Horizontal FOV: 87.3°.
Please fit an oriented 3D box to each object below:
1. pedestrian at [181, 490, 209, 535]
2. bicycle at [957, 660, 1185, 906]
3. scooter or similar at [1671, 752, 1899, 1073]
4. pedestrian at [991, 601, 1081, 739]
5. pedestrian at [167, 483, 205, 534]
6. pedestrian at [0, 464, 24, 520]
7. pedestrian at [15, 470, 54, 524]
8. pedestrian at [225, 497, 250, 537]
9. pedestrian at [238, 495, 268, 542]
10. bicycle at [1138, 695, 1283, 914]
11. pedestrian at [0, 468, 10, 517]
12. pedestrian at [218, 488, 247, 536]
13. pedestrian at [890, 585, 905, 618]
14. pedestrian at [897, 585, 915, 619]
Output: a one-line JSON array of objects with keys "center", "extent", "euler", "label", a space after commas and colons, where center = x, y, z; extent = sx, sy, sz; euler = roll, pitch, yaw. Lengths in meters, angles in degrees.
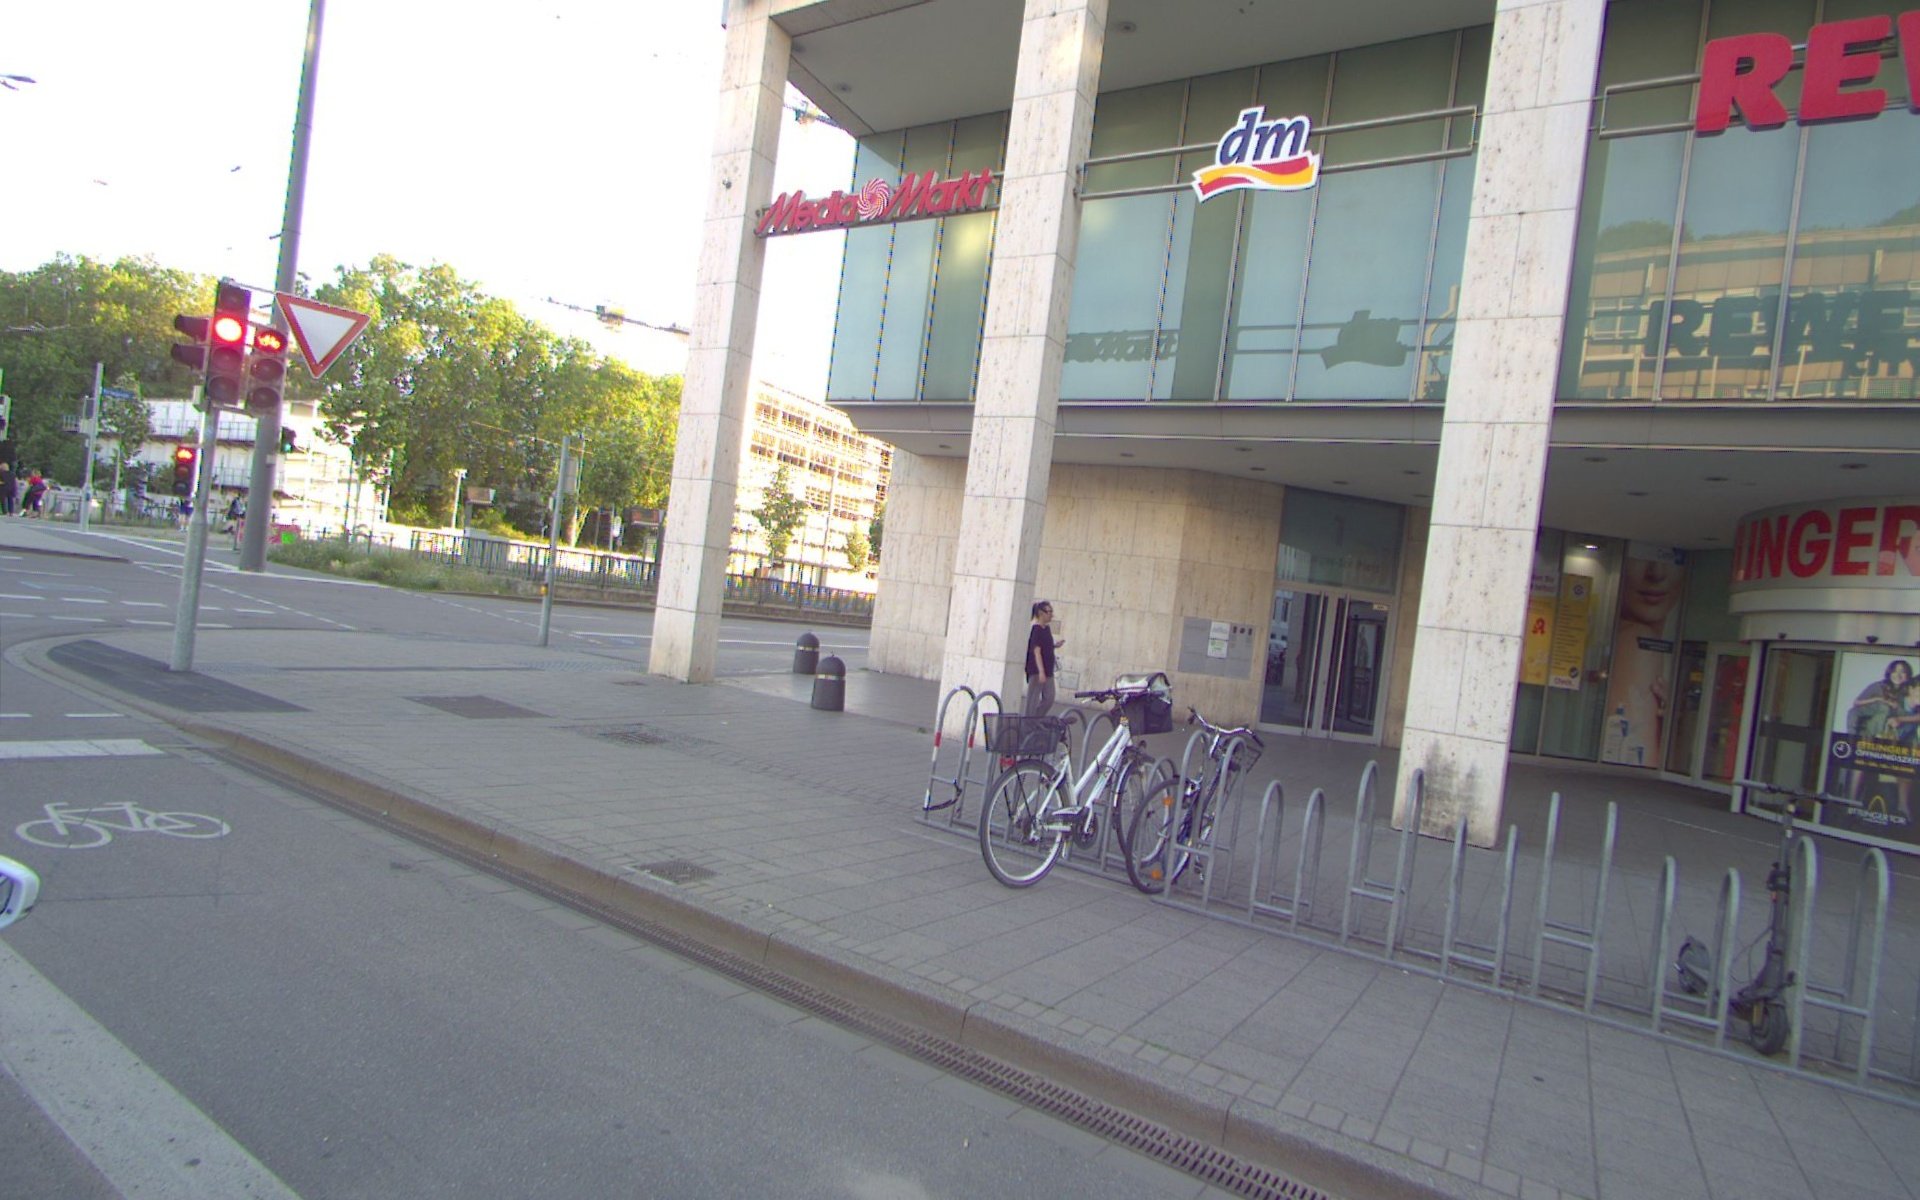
[{"center": [-29.244, -3.344, 38.456], "extent": [0.527, 1.612, 0.571], "euler": [8, 1, 32], "label": "pedestrian"}, {"center": [0.703, 1.009, 5.924], "extent": [0.540, 1.198, 1.479], "euler": [8, 1, 36], "label": "bicycle"}, {"center": [3.989, 1.440, 4.955], "extent": [0.484, 1.214, 1.196], "euler": [8, 1, 27], "label": "scooter or similar"}, {"center": [0.998, 0.902, 13.091], "extent": [0.696, 1.659, 0.792], "euler": [8, 1, 31], "label": "pedestrian"}, {"center": [-28.448, -3.346, 36.973], "extent": [0.700, 1.746, 0.668], "euler": [7, 1, -1], "label": "pedestrian"}, {"center": [-32.838, -3.725, 34.585], "extent": [0.803, 1.814, 0.790], "euler": [7, 1, -44], "label": "pedestrian"}, {"center": [-32.703, -3.626, 35.549], "extent": [0.696, 1.756, 0.843], "euler": [8, 1, 44], "label": "pedestrian"}, {"center": [-28.138, -3.246, 39.201], "extent": [0.672, 1.459, 0.707], "euler": [6, 1, -36], "label": "pedestrian"}, {"center": [-28.330, -3.263, 40.323], "extent": [0.659, 1.746, 0.709], "euler": [8, 1, 43], "label": "pedestrian"}, {"center": [1.660, 1.213, 6.452], "extent": [0.474, 1.092, 1.773], "euler": [8, 0, 24], "label": "bicycle"}, {"center": [-33.978, -3.810, 35.458], "extent": [0.570, 1.699, 0.631], "euler": [7, 1, -44], "label": "pedestrian"}, {"center": [-27.829, -3.369, 38.481], "extent": [0.708, 1.746, 0.660], "euler": [7, 1, -41], "label": "pedestrian"}, {"center": [-3.997, 0.098, 64.348], "extent": [0.559, 2.039, 0.575], "euler": [8, 1, 29], "label": "pedestrian"}, {"center": [-3.439, 0.142, 63.998], "extent": [0.631, 2.039, 0.626], "euler": [8, 1, 28], "label": "pedestrian"}]
